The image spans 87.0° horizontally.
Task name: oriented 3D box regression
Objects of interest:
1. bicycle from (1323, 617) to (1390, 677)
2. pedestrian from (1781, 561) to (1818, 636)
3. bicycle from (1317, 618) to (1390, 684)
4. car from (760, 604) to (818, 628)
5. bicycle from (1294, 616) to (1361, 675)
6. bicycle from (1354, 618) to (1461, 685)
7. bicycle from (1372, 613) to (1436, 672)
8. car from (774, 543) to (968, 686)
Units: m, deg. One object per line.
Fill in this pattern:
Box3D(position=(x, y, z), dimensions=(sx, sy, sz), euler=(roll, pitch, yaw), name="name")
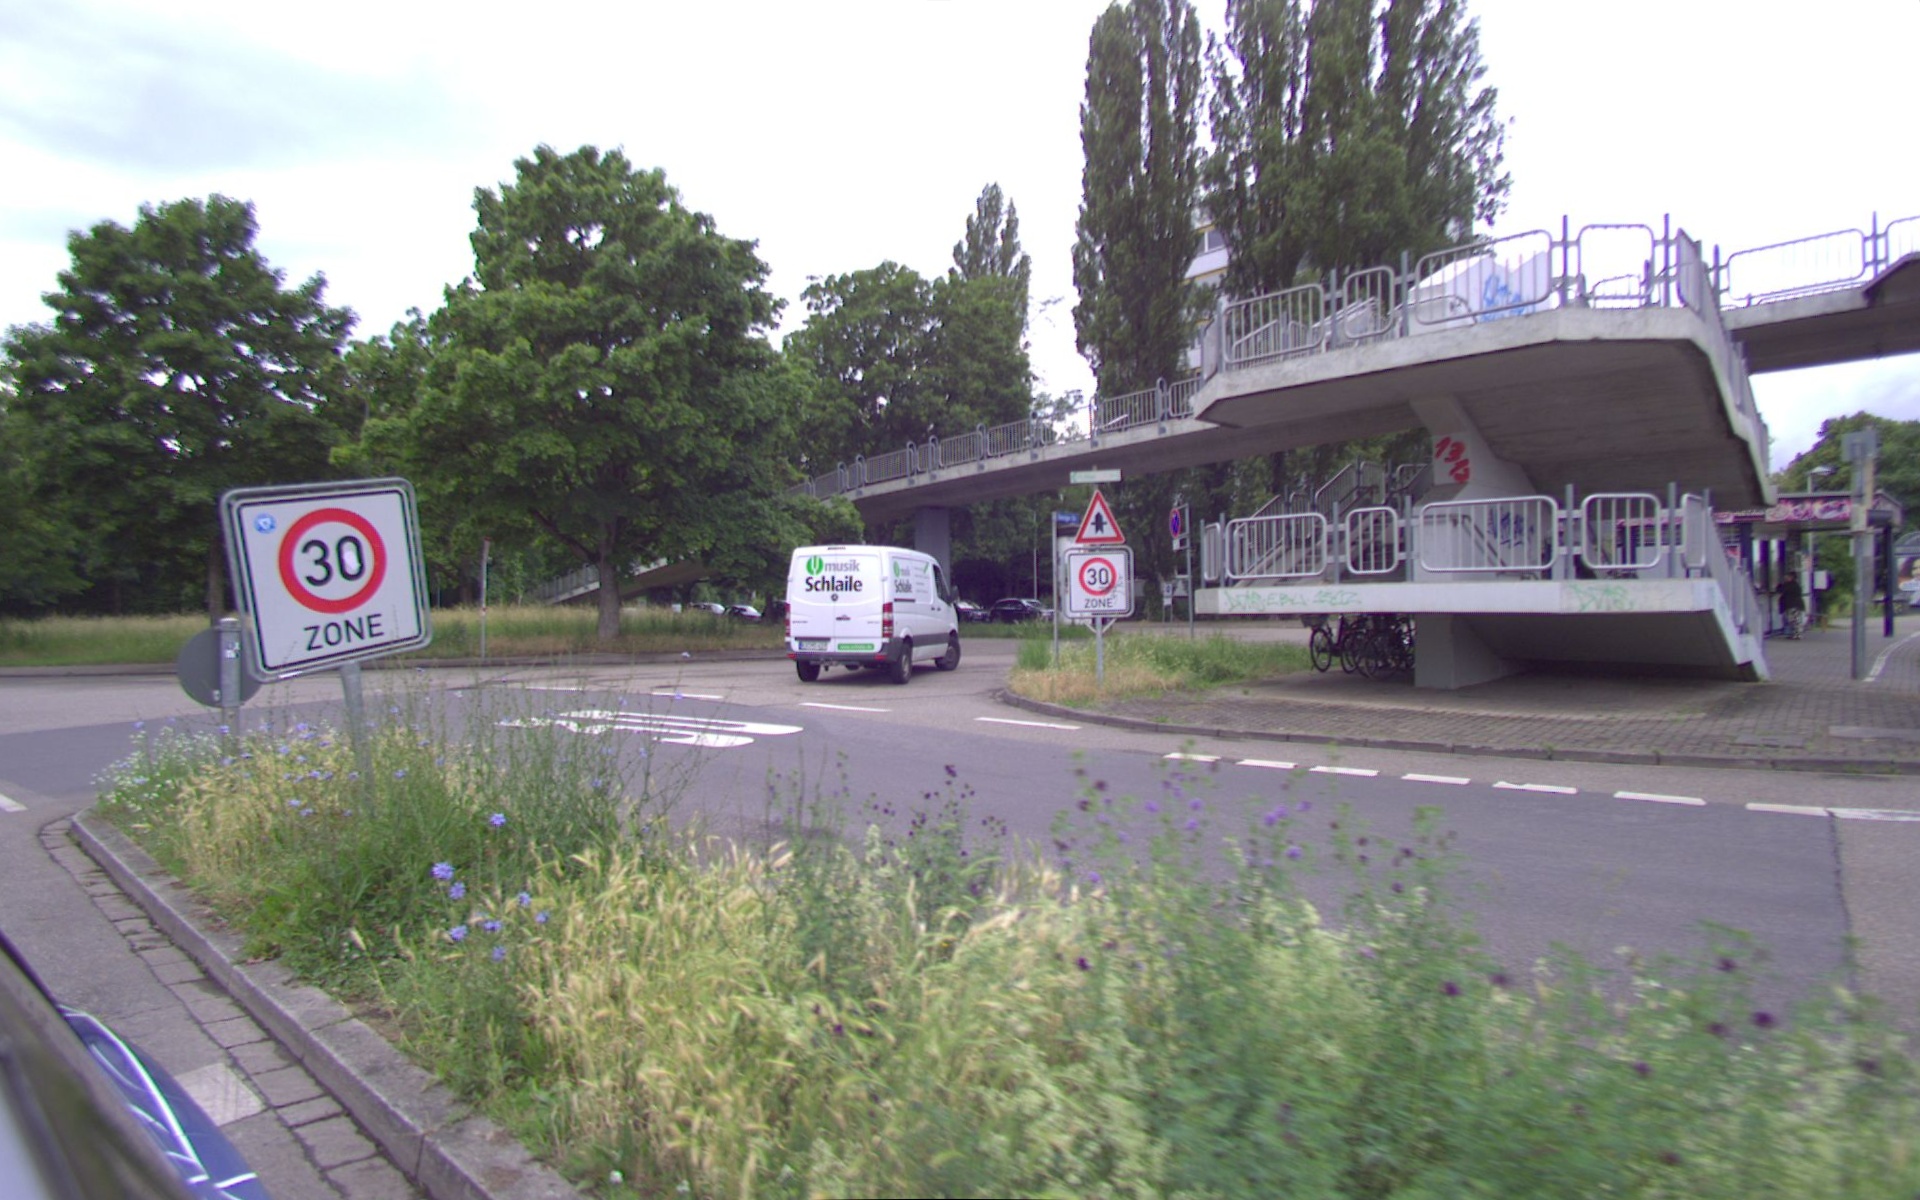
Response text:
Box3D(position=(6.459, 0.739, 16.443), dimensions=(0.395, 0.892, 1.618), euler=(-1, 0, 45), name="bicycle")
Box3D(position=(19.086, -0.042, 23.007), dimensions=(0.676, 1.677, 0.543), euler=(-1, -1, -44), name="pedestrian")
Box3D(position=(5.916, 0.742, 15.178), dimensions=(0.395, 0.892, 1.618), euler=(-1, 0, 45), name="bicycle")
Box3D(position=(-10.431, 0.949, 61.593), dimensions=(1.668, 1.361, 4.006), euler=(-1, 0, -40), name="car")
Box3D(position=(6.124, 0.737, 16.812), dimensions=(0.395, 0.892, 1.618), euler=(-1, 0, 45), name="bicycle")
Box3D(position=(6.507, 0.724, 14.684), dimensions=(1.712, 0.892, 0.396), euler=(-1, 0, -26), name="bicycle")
Box3D(position=(7.242, 0.670, 16.479), dimensions=(0.395, 0.892, 1.618), euler=(-1, 0, 45), name="bicycle")
Box3D(position=(-1.466, 0.212, 19.075), dimensions=(2.119, 2.309, 5.186), euler=(-1, 1, 13), name="car")
